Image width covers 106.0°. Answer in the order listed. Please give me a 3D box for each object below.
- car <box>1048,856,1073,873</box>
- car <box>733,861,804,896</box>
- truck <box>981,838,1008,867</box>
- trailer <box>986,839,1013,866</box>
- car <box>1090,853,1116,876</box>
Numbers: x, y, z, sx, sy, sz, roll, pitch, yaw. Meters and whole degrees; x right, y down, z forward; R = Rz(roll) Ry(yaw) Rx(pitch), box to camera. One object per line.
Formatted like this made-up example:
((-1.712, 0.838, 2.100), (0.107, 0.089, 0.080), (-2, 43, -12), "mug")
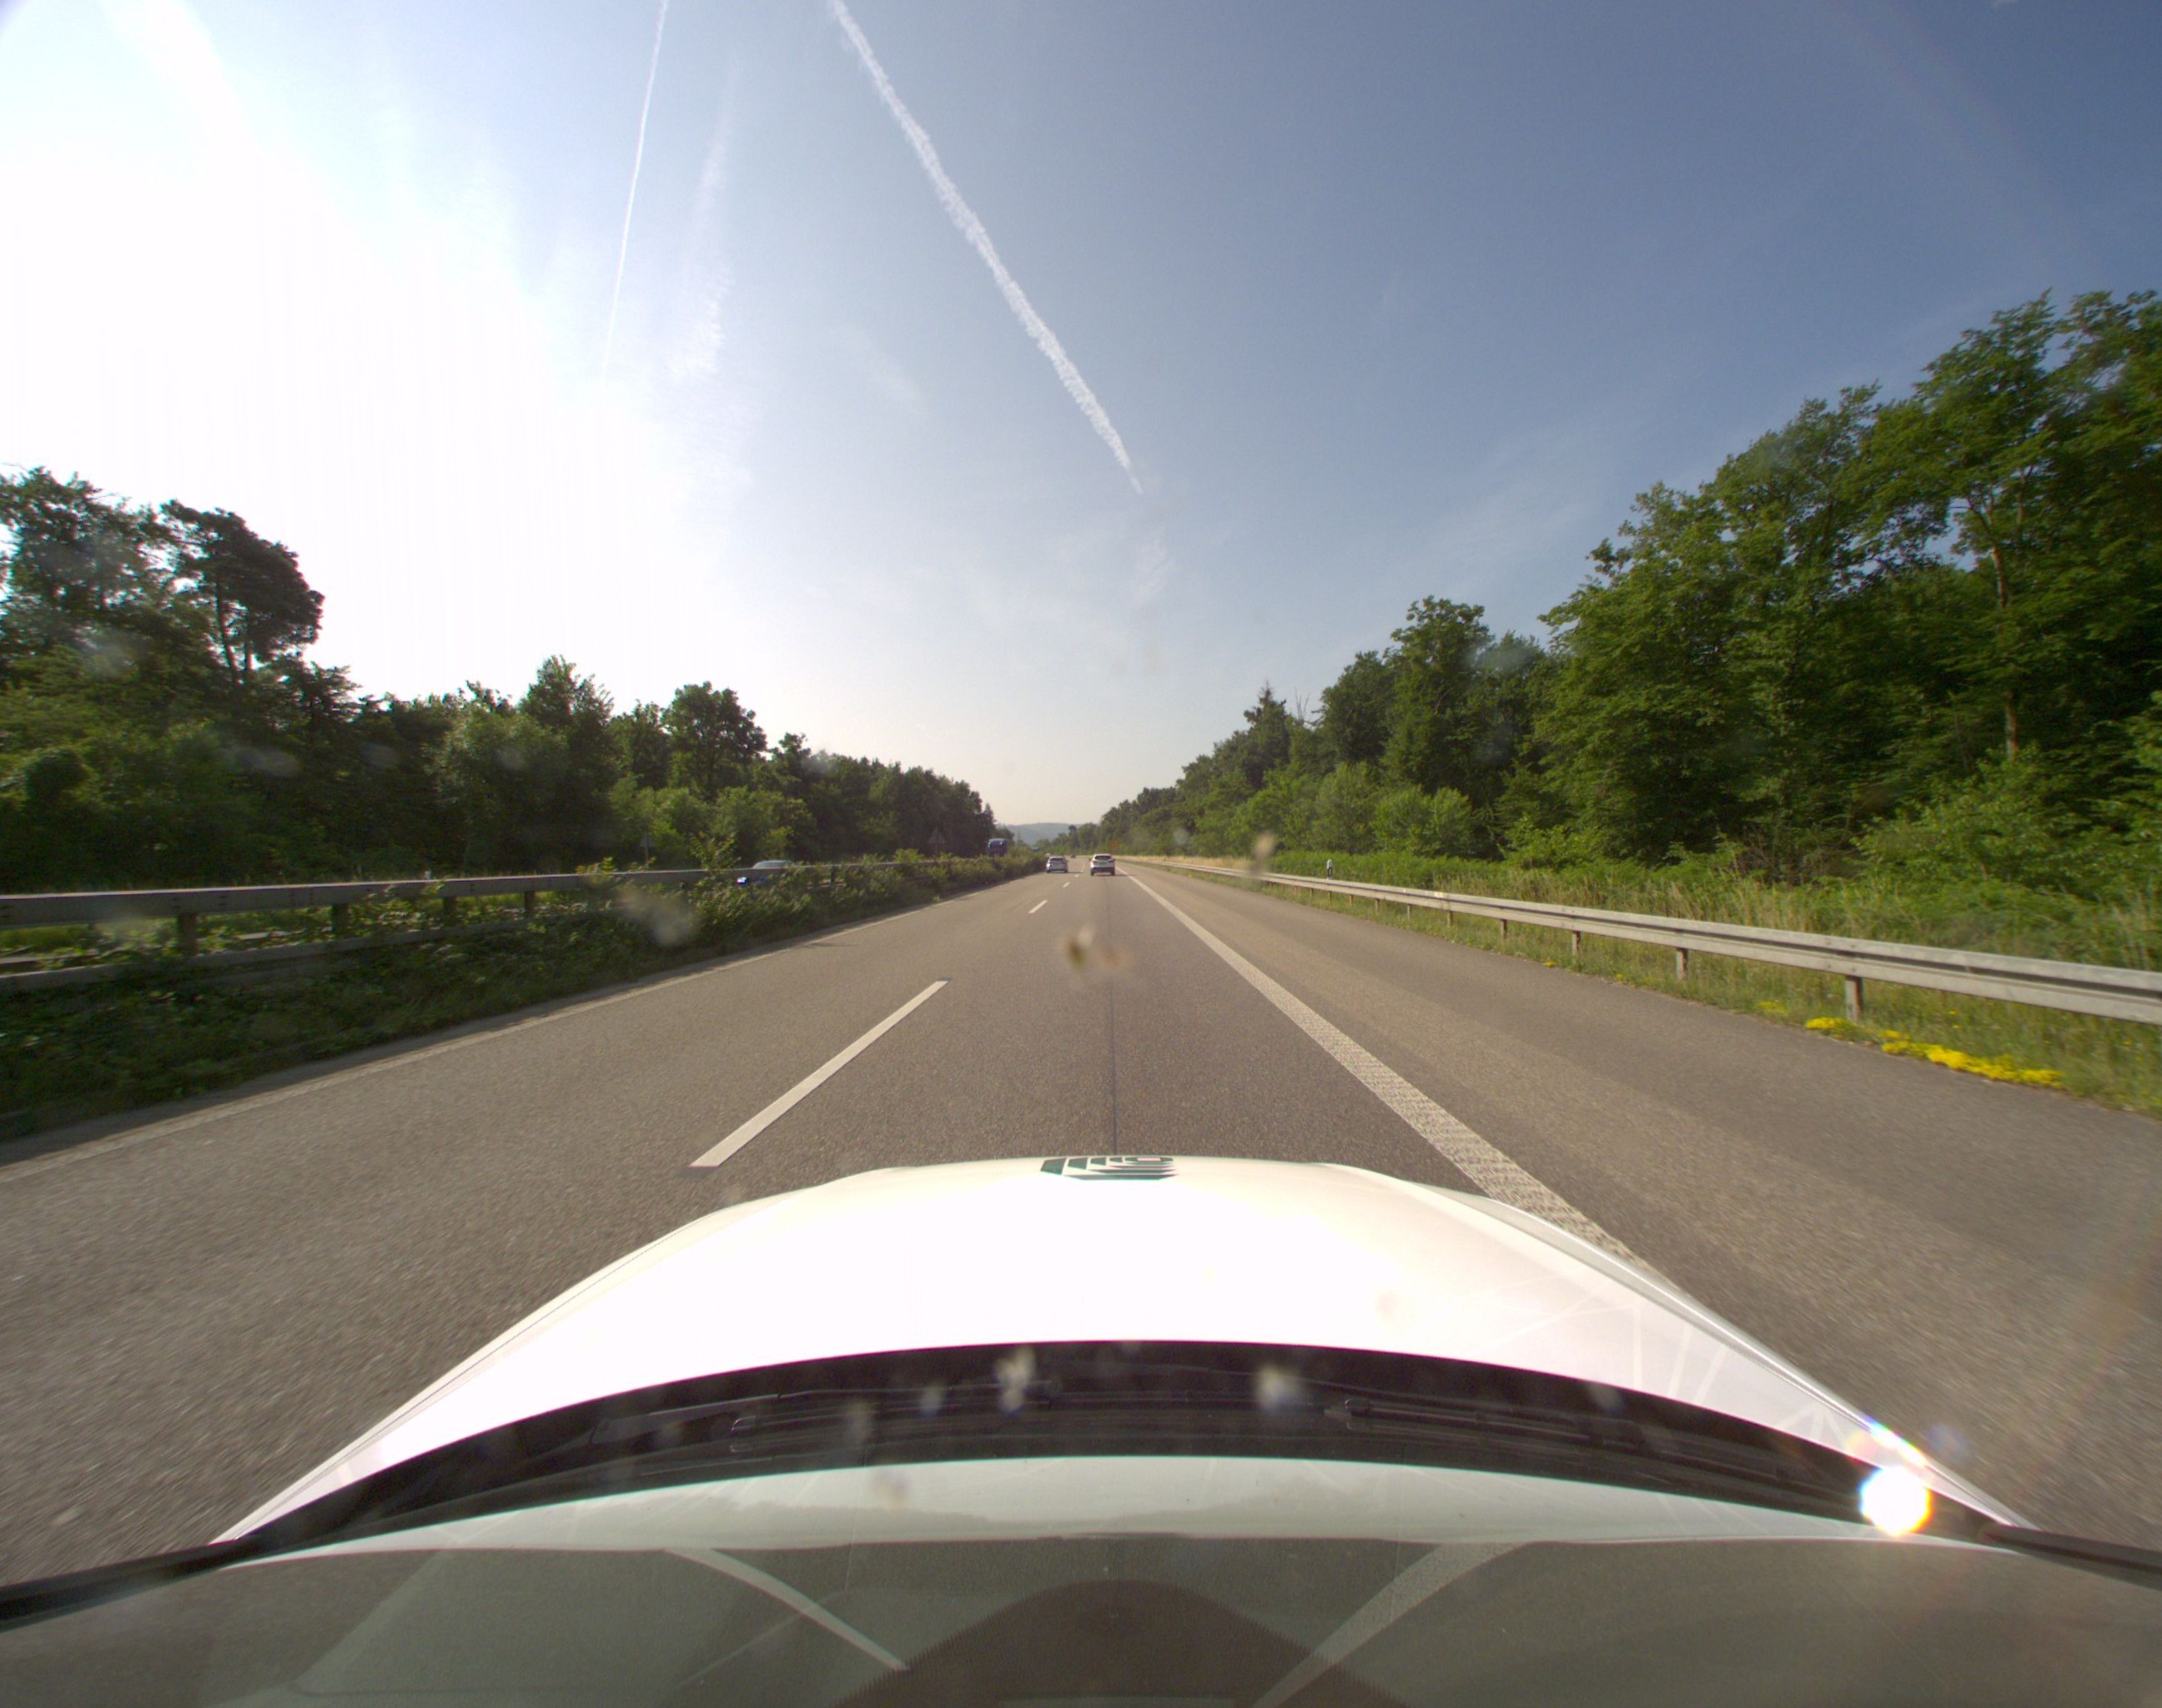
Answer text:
((-1.758, 0.904, 72.348), (1.785, 1.438, 5.283), (-2, 0, 3), "car")
((-14.063, 1.070, 36.856), (1.551, 1.429, 3.912), (-1, 0, 3), "car")
((-12.645, -0.215, 119.134), (2.774, 3.998, 8.418), (-1, 0, 1), "truck")
((-12.458, -0.227, 125.442), (2.821, 3.998, 11.436), (-1, 0, 1), "trailer")
((1.655, 0.739, 60.754), (1.867, 1.586, 4.001), (1, 0, 1), "car")
